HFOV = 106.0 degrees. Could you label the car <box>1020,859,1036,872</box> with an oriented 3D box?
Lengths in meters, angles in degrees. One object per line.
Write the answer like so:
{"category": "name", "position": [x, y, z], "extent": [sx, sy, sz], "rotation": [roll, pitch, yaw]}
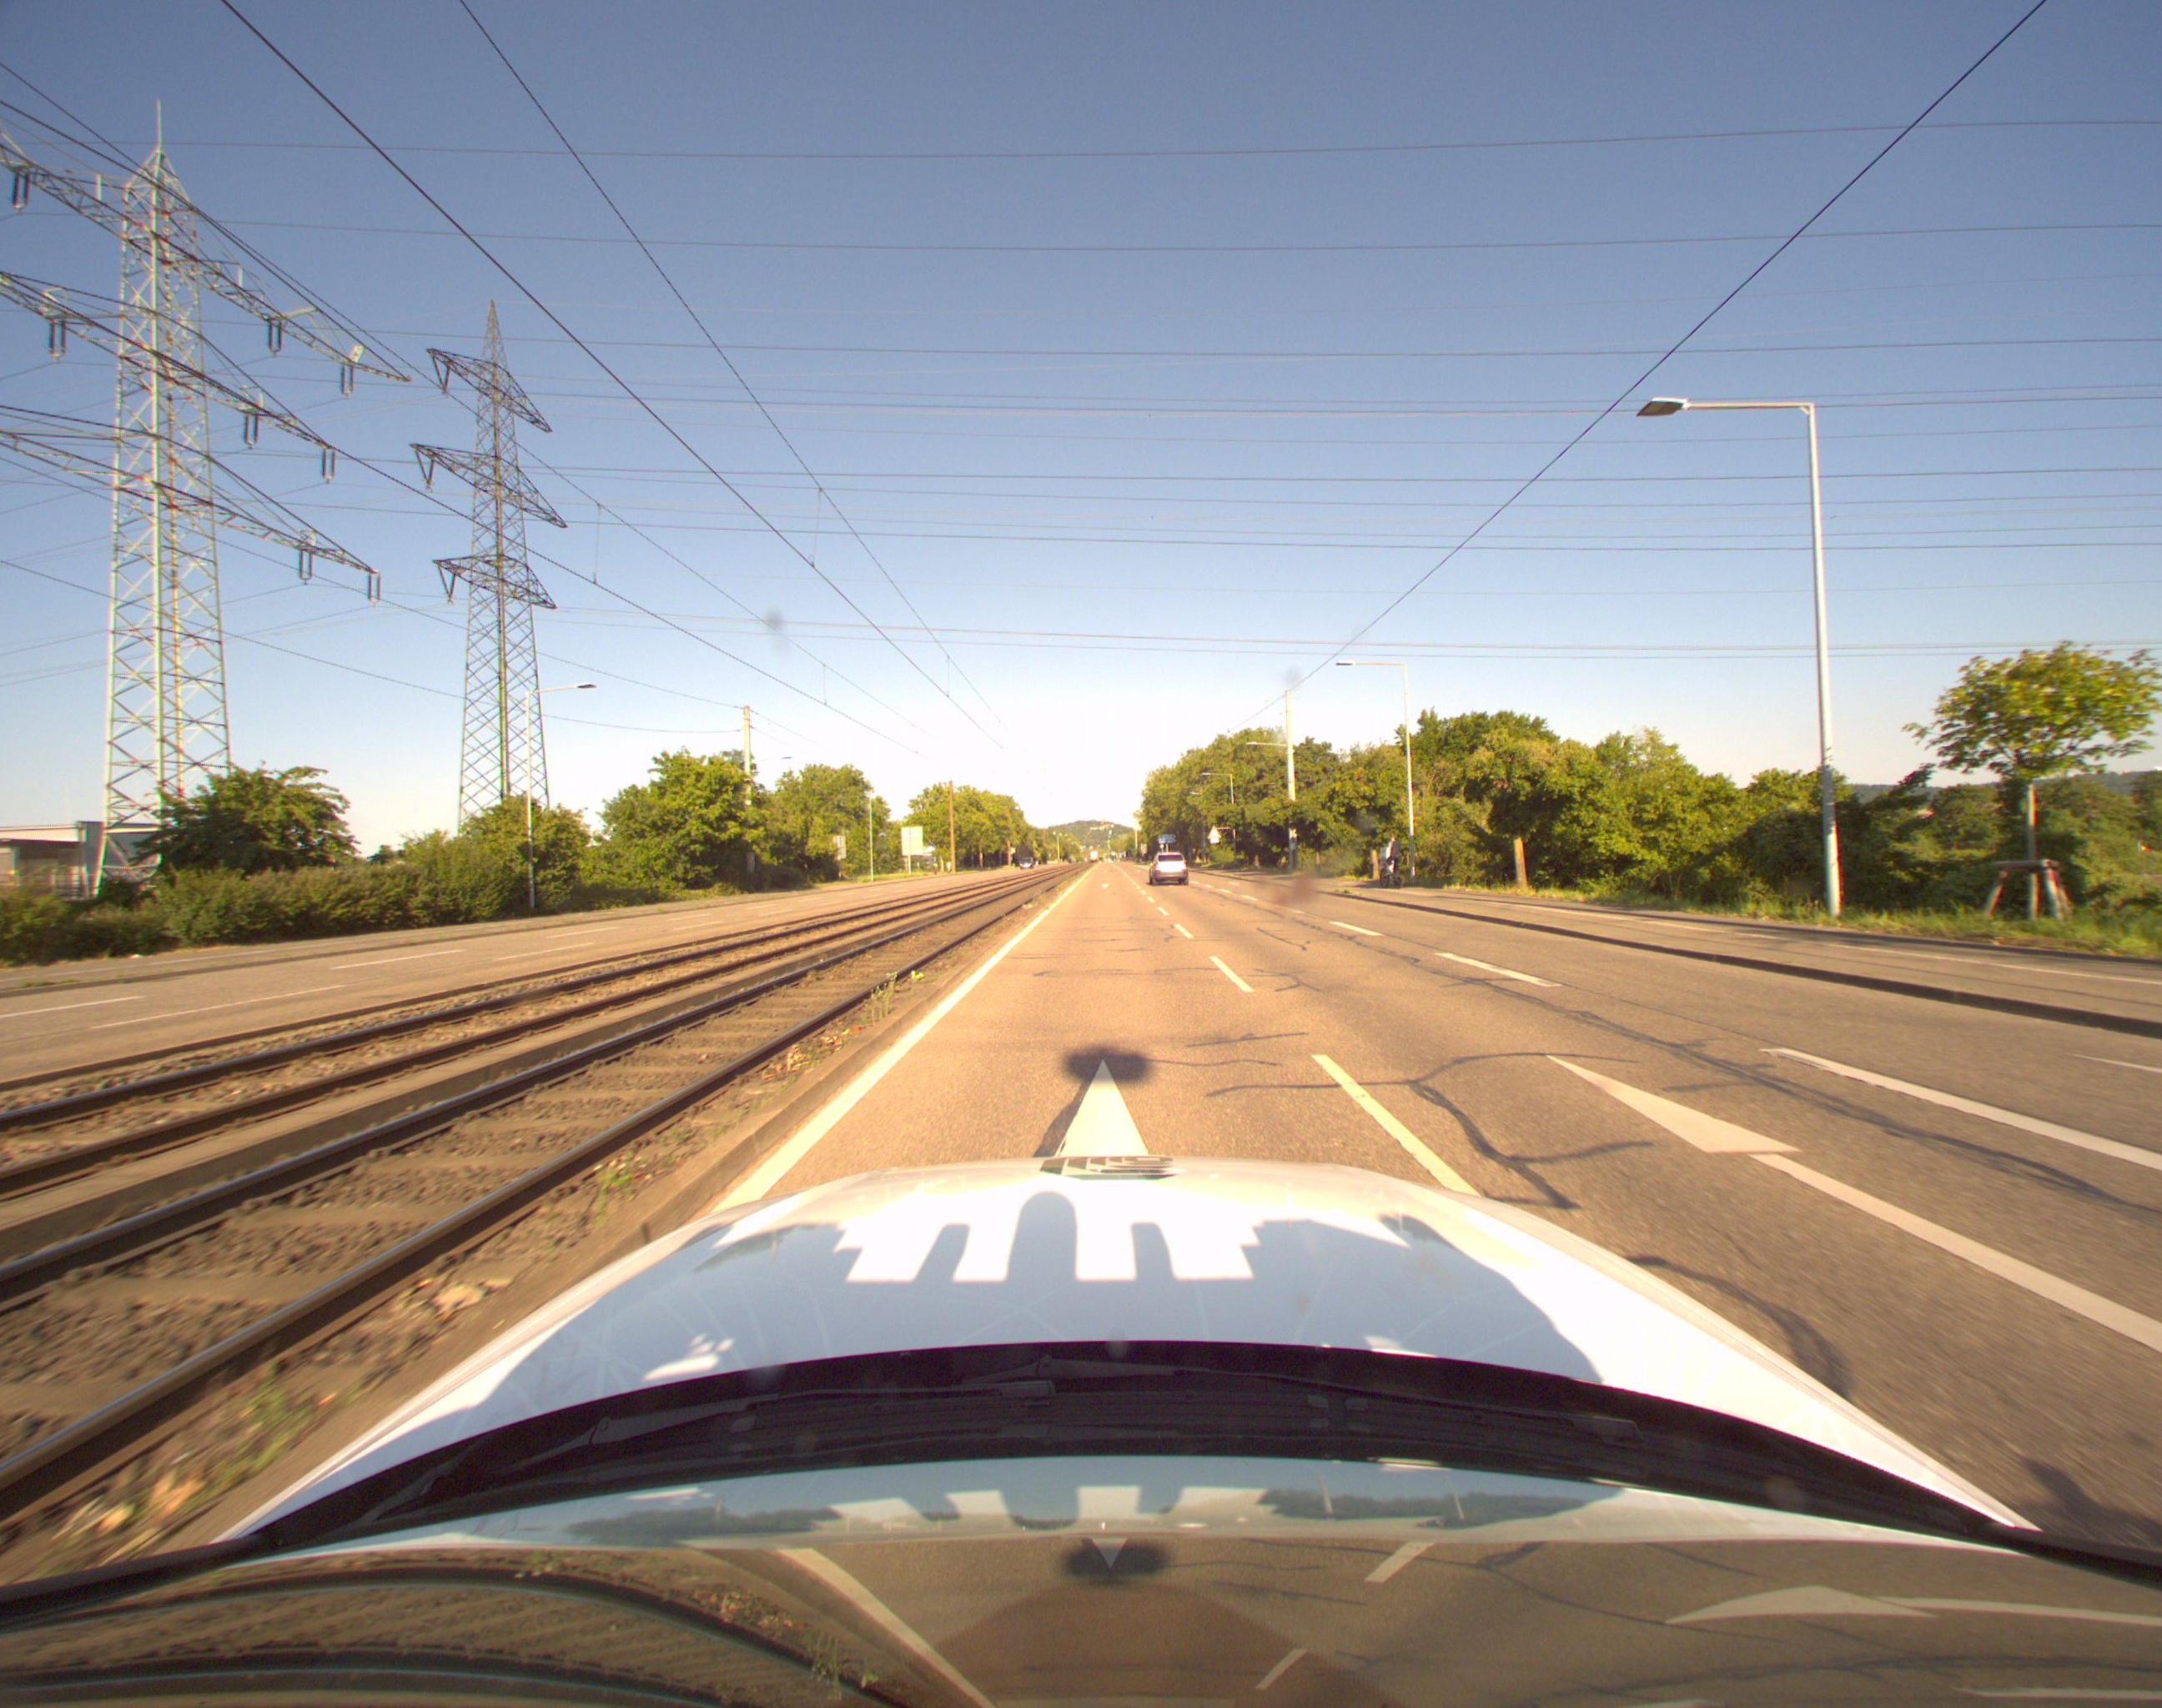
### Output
{"category": "car", "position": [-8.811, 1.923, 136.227], "extent": [1.985, 1.923, 4.864], "rotation": [-2, -1, 3]}

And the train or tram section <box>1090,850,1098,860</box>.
{"category": "train or tram section", "position": [4.142, 0.408, 258.462], "extent": [2.302, 3.217, 9.478], "rotation": [0, -1, 2]}

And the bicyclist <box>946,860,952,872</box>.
{"category": "bicyclist", "position": [-17.295, 1.568, 107.014], "extent": [0.588, 1.611, 0.967], "rotation": [-2, -1, 1]}

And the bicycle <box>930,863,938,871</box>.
{"category": "bicycle", "position": [-18.896, 1.623, 104.678], "extent": [0.588, 1.022, 2.186], "rotation": [-2, -1, 1]}

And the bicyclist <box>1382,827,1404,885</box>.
{"category": "bicyclist", "position": [10.947, 0.084, 28.612], "extent": [0.525, 2.017, 0.730], "rotation": [0, -1, 3]}

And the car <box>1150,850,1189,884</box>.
{"category": "car", "position": [4.582, 0.681, 42.712], "extent": [1.880, 1.693, 4.260], "rotation": [-1, -1, 4]}

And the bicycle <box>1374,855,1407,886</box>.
{"category": "bicycle", "position": [10.960, 0.574, 28.876], "extent": [0.525, 1.060, 1.973], "rotation": [0, -1, 3]}

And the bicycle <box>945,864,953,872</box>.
{"category": "bicycle", "position": [-17.293, 1.874, 106.929], "extent": [0.588, 1.022, 2.186], "rotation": [-2, -1, 1]}

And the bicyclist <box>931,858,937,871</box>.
{"category": "bicyclist", "position": [-18.898, 1.353, 104.714], "extent": [0.588, 1.528, 0.906], "rotation": [-2, -1, 1]}
